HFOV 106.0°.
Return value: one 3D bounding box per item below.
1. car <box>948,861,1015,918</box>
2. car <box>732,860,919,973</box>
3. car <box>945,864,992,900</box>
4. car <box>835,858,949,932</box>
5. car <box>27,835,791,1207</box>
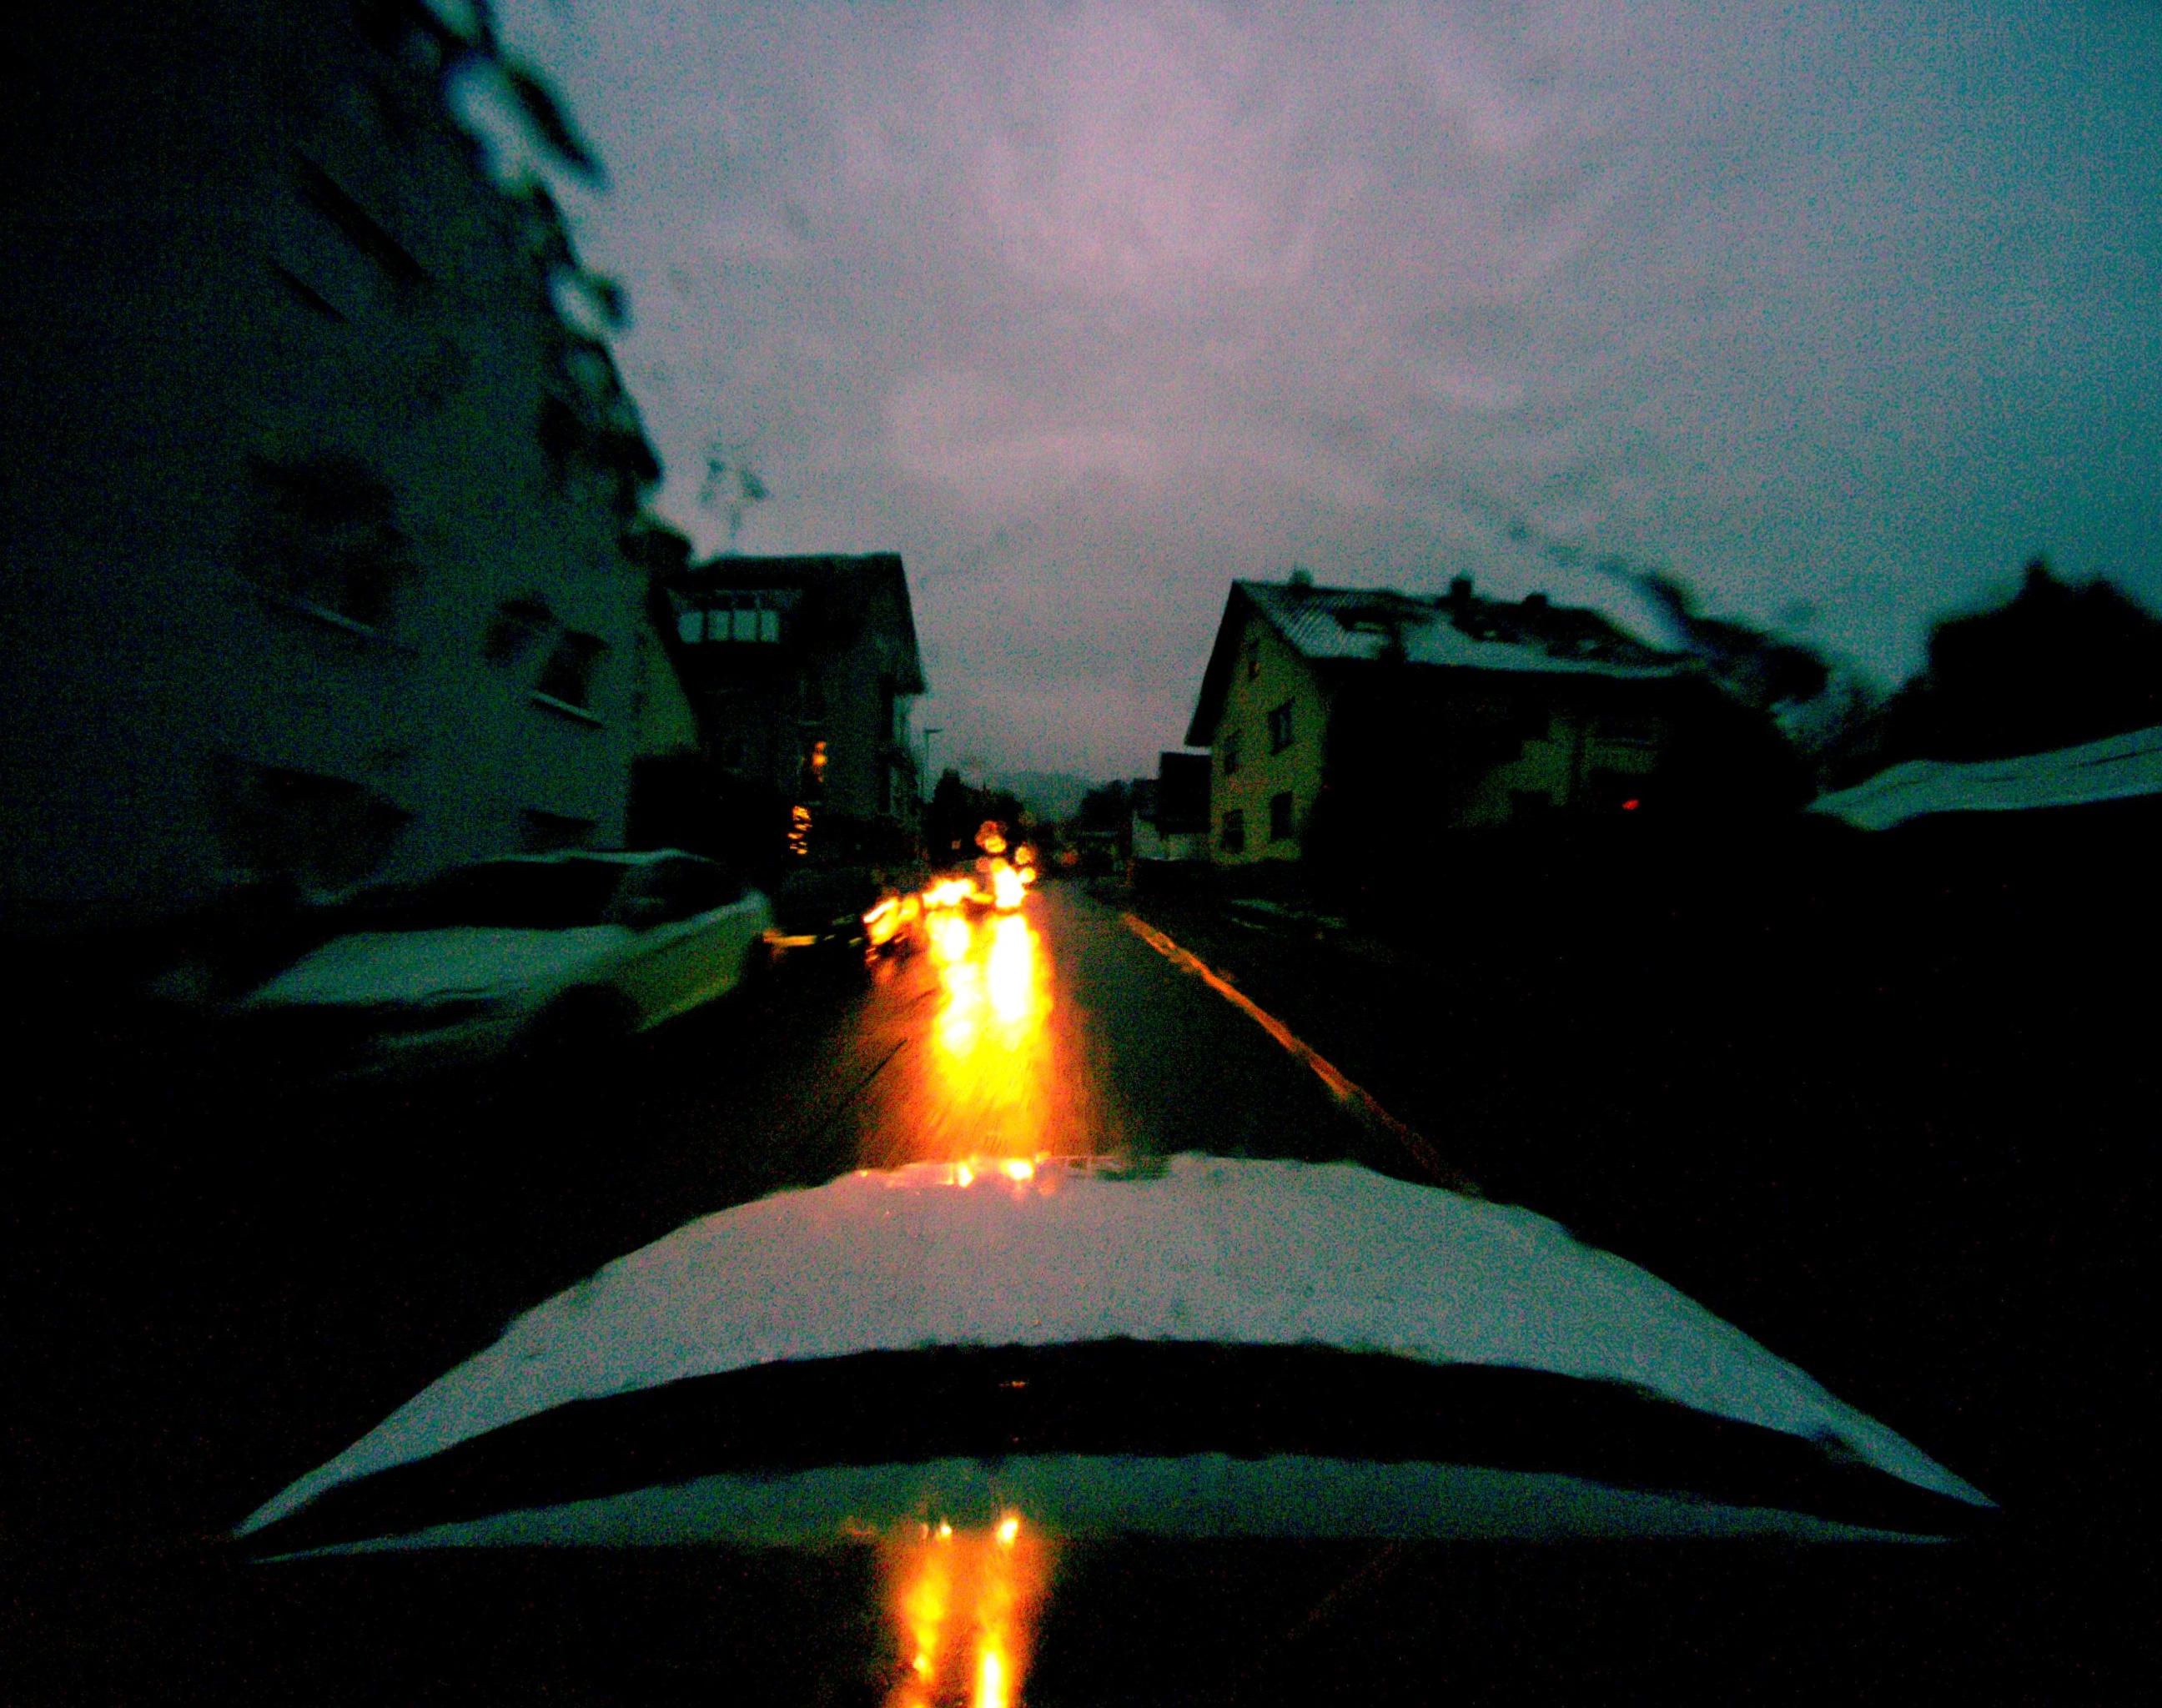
[{"bbox_3d":[-3.031,0.984,24.109,1.773,1.495,4.366,-1,0,-9],"label":"car"},{"bbox_3d":[-3.733,0.827,12.653,1.729,1.436,4.031,-1,0,-2],"label":"car"},{"bbox_3d":[-4.773,1.172,34.979,1.661,1.418,3.686,2,-1,-3],"label":"car"},{"bbox_3d":[-4.046,0.809,18.144,1.730,1.444,4.434,0,0,-3],"label":"car"},{"bbox_3d":[-3.790,0.755,5.872,1.913,1.624,4.419,-1,0,-2],"label":"car"}]
